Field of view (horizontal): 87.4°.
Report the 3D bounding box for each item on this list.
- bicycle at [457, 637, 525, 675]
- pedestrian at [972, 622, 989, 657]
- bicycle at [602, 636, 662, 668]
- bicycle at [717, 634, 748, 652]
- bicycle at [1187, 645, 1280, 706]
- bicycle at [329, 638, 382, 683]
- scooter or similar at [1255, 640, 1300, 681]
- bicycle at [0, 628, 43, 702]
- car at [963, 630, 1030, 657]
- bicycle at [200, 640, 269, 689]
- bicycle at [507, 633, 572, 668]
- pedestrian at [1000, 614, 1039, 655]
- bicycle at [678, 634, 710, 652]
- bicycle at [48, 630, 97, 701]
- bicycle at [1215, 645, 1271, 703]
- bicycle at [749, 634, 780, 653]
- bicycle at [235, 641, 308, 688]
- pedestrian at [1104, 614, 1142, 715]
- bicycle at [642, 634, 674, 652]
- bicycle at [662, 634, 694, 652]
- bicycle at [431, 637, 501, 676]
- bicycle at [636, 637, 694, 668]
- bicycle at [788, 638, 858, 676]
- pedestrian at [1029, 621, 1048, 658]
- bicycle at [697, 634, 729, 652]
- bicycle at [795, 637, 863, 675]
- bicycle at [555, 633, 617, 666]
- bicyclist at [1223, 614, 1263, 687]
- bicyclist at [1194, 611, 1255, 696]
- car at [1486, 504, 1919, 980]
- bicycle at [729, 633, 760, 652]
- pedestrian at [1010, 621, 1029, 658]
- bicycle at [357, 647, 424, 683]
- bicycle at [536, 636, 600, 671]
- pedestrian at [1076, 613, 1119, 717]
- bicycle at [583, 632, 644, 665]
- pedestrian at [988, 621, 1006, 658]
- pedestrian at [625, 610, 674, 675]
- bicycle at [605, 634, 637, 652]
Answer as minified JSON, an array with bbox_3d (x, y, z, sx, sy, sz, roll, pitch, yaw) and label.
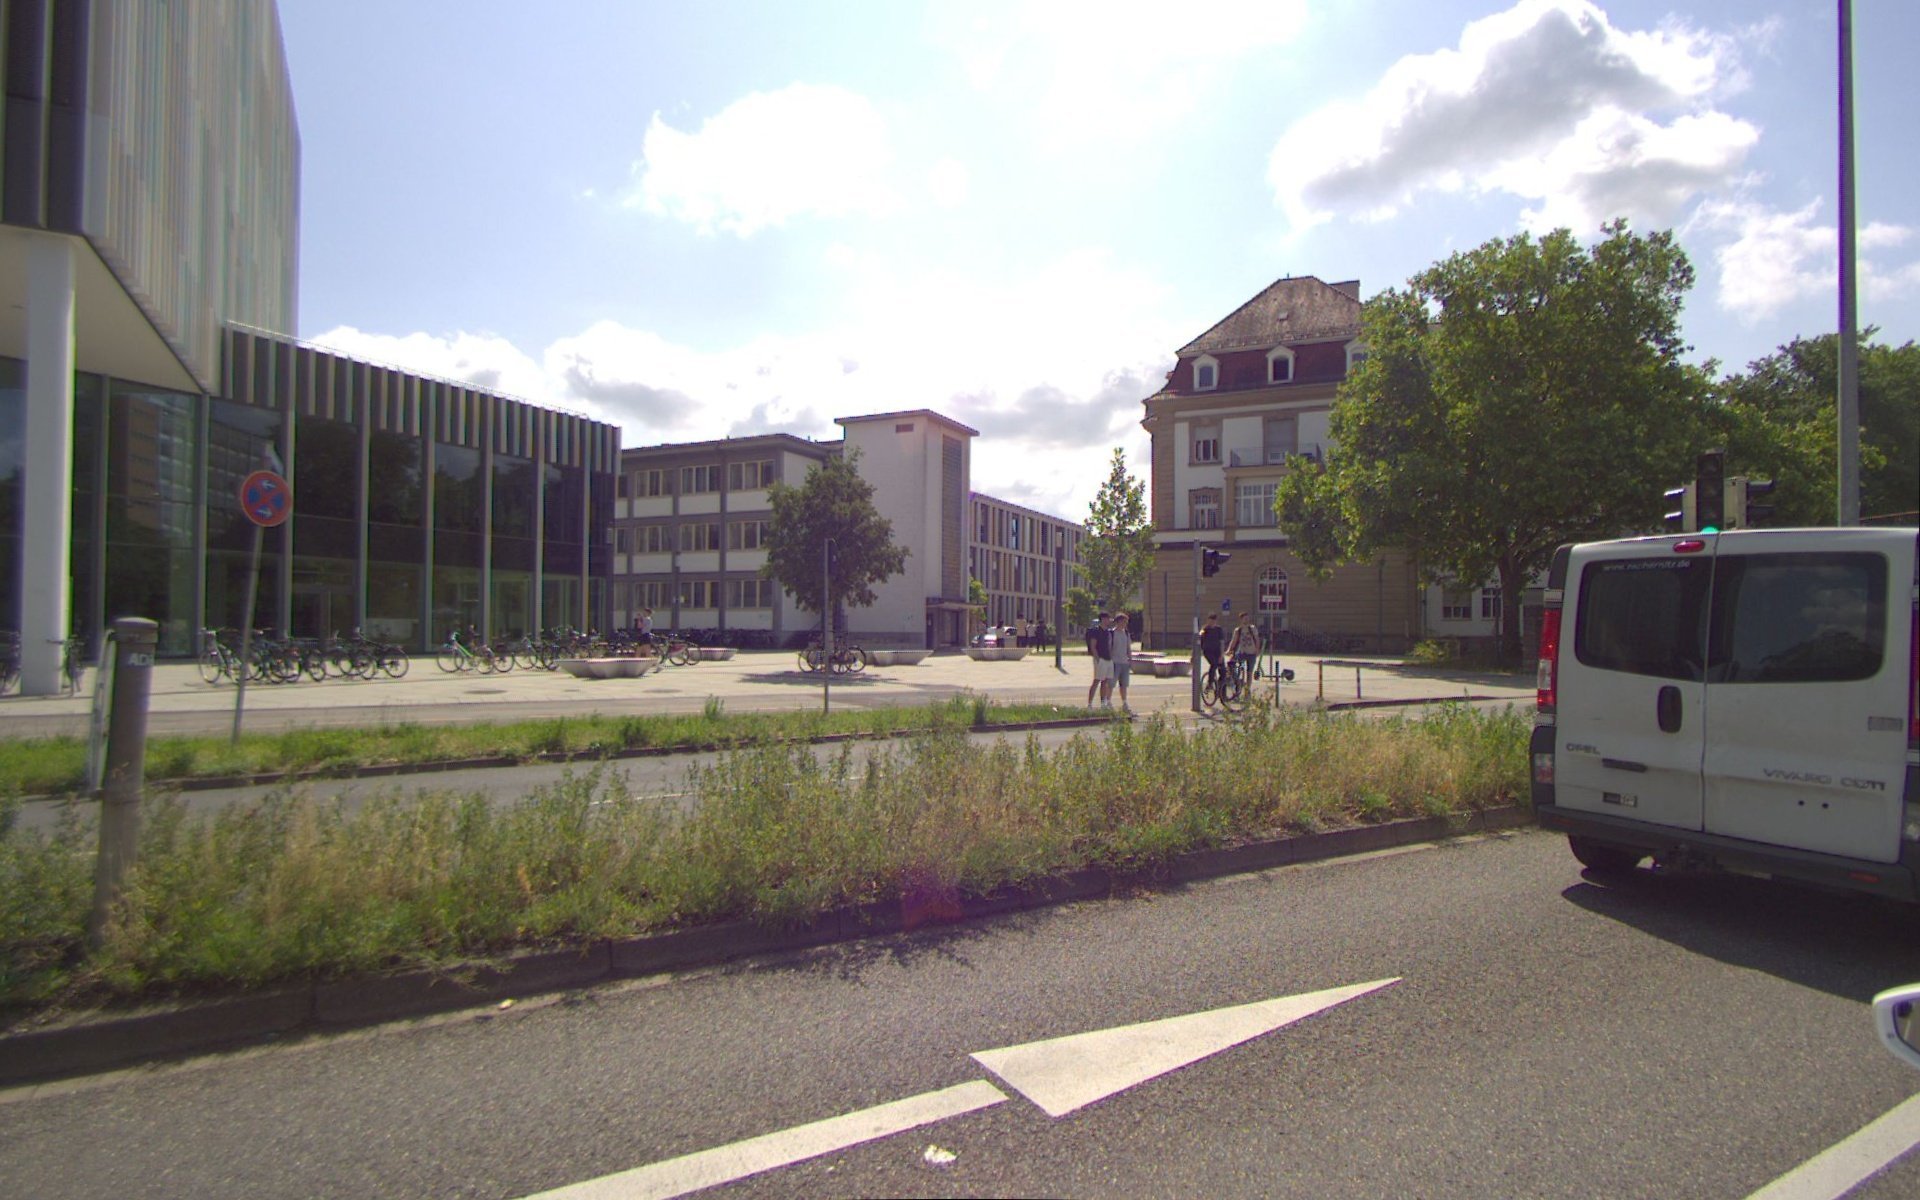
[{"bbox_3d":[-12.669,1.514,27.141,1.738,0.968,0.529,1,-1,16],"label":"bicycle"},{"bbox_3d":[1.050,2.047,52.231,0.664,1.813,0.844,0,-1,19],"label":"pedestrian"},{"bbox_3d":[-10.409,1.649,31.901,1.737,0.968,0.529,1,-1,8],"label":"bicycle"},{"bbox_3d":[-12.239,2.314,54.085,0.520,0.968,1.770,2,-1,31],"label":"bicycle"},{"bbox_3d":[5.378,1.466,19.818,1.646,1.139,0.692,-1,-2,40],"label":"bicycle"},{"bbox_3d":[-14.165,1.403,23.514,1.747,0.968,0.526,0,-2,40],"label":"bicycle"},{"bbox_3d":[8.802,1.665,27.838,1.131,1.081,0.402,-1,-2,33],"label":"scooter or similar"},{"bbox_3d":[-16.659,1.130,17.733,0.369,1.203,1.533,2,-1,-31],"label":"bicycle"},{"bbox_3d":[2.063,2.375,55.905,1.963,1.323,4.488,1,-1,28],"label":"car"},{"bbox_3d":[-15.151,1.331,20.967,1.516,0.968,0.373,0,-1,21],"label":"bicycle"},{"bbox_3d":[-12.106,1.444,28.897,1.737,0.968,0.529,1,-1,14],"label":"bicycle"},{"bbox_3d":[2.526,1.461,42.492,1.279,1.673,1.321,1,-2,-18],"label":"pedestrian"},{"bbox_3d":[-14.606,2.354,55.169,0.520,0.968,1.770,2,-1,31],"label":"bicycle"},{"bbox_3d":[-16.161,1.168,18.309,0.369,1.203,1.533,2,-1,-31],"label":"bicycle"},{"bbox_3d":[6.225,1.598,22.056,0.684,1.139,1.666,-1,0,35],"label":"bicycle"},{"bbox_3d":[-10.315,2.303,53.076,0.520,0.968,1.768,1,-1,34],"label":"bicycle"},{"bbox_3d":[-15.053,1.392,21.944,1.739,0.968,0.373,0,-1,21],"label":"bicycle"},{"bbox_3d":[3.083,1.204,18.998,0.570,1.866,0.411,1,-1,-35],"label":"pedestrian"},{"bbox_3d":[-16.786,2.370,55.845,0.520,0.968,1.770,2,-1,31],"label":"bicycle"},{"bbox_3d":[-15.598,2.371,55.600,0.520,0.968,1.770,2,-1,31],"label":"bicycle"},{"bbox_3d":[-12.967,1.482,26.360,1.738,0.968,0.529,1,-1,16],"label":"bicycle"},{"bbox_3d":[-9.715,1.736,33.113,1.737,0.968,0.529,1,-1,8],"label":"bicycle"},{"bbox_3d":[-3.617,1.499,26.569,1.737,0.968,0.529,1,-1,8],"label":"bicycle"},{"bbox_3d":[3.840,1.929,49.265,0.849,1.813,0.843,0,-1,-3],"label":"pedestrian"},{"bbox_3d":[-13.423,2.337,54.624,0.520,0.968,1.770,2,-1,31],"label":"bicycle"},{"bbox_3d":[-3.533,1.508,27.159,1.737,0.968,0.529,1,-1,8],"label":"bicycle"},{"bbox_3d":[-11.255,1.482,30.228,1.737,0.968,0.529,1,-1,14],"label":"bicycle"},{"bbox_3d":[6.201,1.089,22.002,0.646,1.559,0.783,-1,-1,35],"label":"bicyclist"},{"bbox_3d":[5.249,1.039,19.925,0.984,1.637,0.654,-1,-2,40],"label":"bicyclist"},{"bbox_3d":[5.776,0.647,6.271,5.132,1.981,1.997,1,-1,-30],"label":"car"},{"bbox_3d":[-11.470,2.279,53.608,0.520,0.968,1.770,2,-1,31],"label":"bicycle"},{"bbox_3d":[2.899,1.926,49.297,0.875,1.813,0.844,0,-1,-1],"label":"pedestrian"},{"bbox_3d":[-13.720,1.555,24.191,1.741,0.774,0.528,0,-1,28],"label":"bicycle"},{"bbox_3d":[-11.524,1.570,29.551,1.737,0.968,0.529,1,-1,14],"label":"bicycle"},{"bbox_3d":[2.531,1.186,18.490,0.629,1.866,0.473,2,-1,-45],"label":"pedestrian"},{"bbox_3d":[-10.763,1.503,31.220,1.737,0.968,0.529,1,-1,8],"label":"bicycle"},{"bbox_3d":[1.813,1.936,49.190,0.799,1.813,0.843,0,-1,-6],"label":"pedestrian"},{"bbox_3d":[-8.206,1.117,26.534,1.003,1.672,1.173,1,-2,-30],"label":"pedestrian"},{"bbox_3d":[-19.166,2.412,56.765,0.520,0.968,1.770,2,-1,31],"label":"bicycle"}]
